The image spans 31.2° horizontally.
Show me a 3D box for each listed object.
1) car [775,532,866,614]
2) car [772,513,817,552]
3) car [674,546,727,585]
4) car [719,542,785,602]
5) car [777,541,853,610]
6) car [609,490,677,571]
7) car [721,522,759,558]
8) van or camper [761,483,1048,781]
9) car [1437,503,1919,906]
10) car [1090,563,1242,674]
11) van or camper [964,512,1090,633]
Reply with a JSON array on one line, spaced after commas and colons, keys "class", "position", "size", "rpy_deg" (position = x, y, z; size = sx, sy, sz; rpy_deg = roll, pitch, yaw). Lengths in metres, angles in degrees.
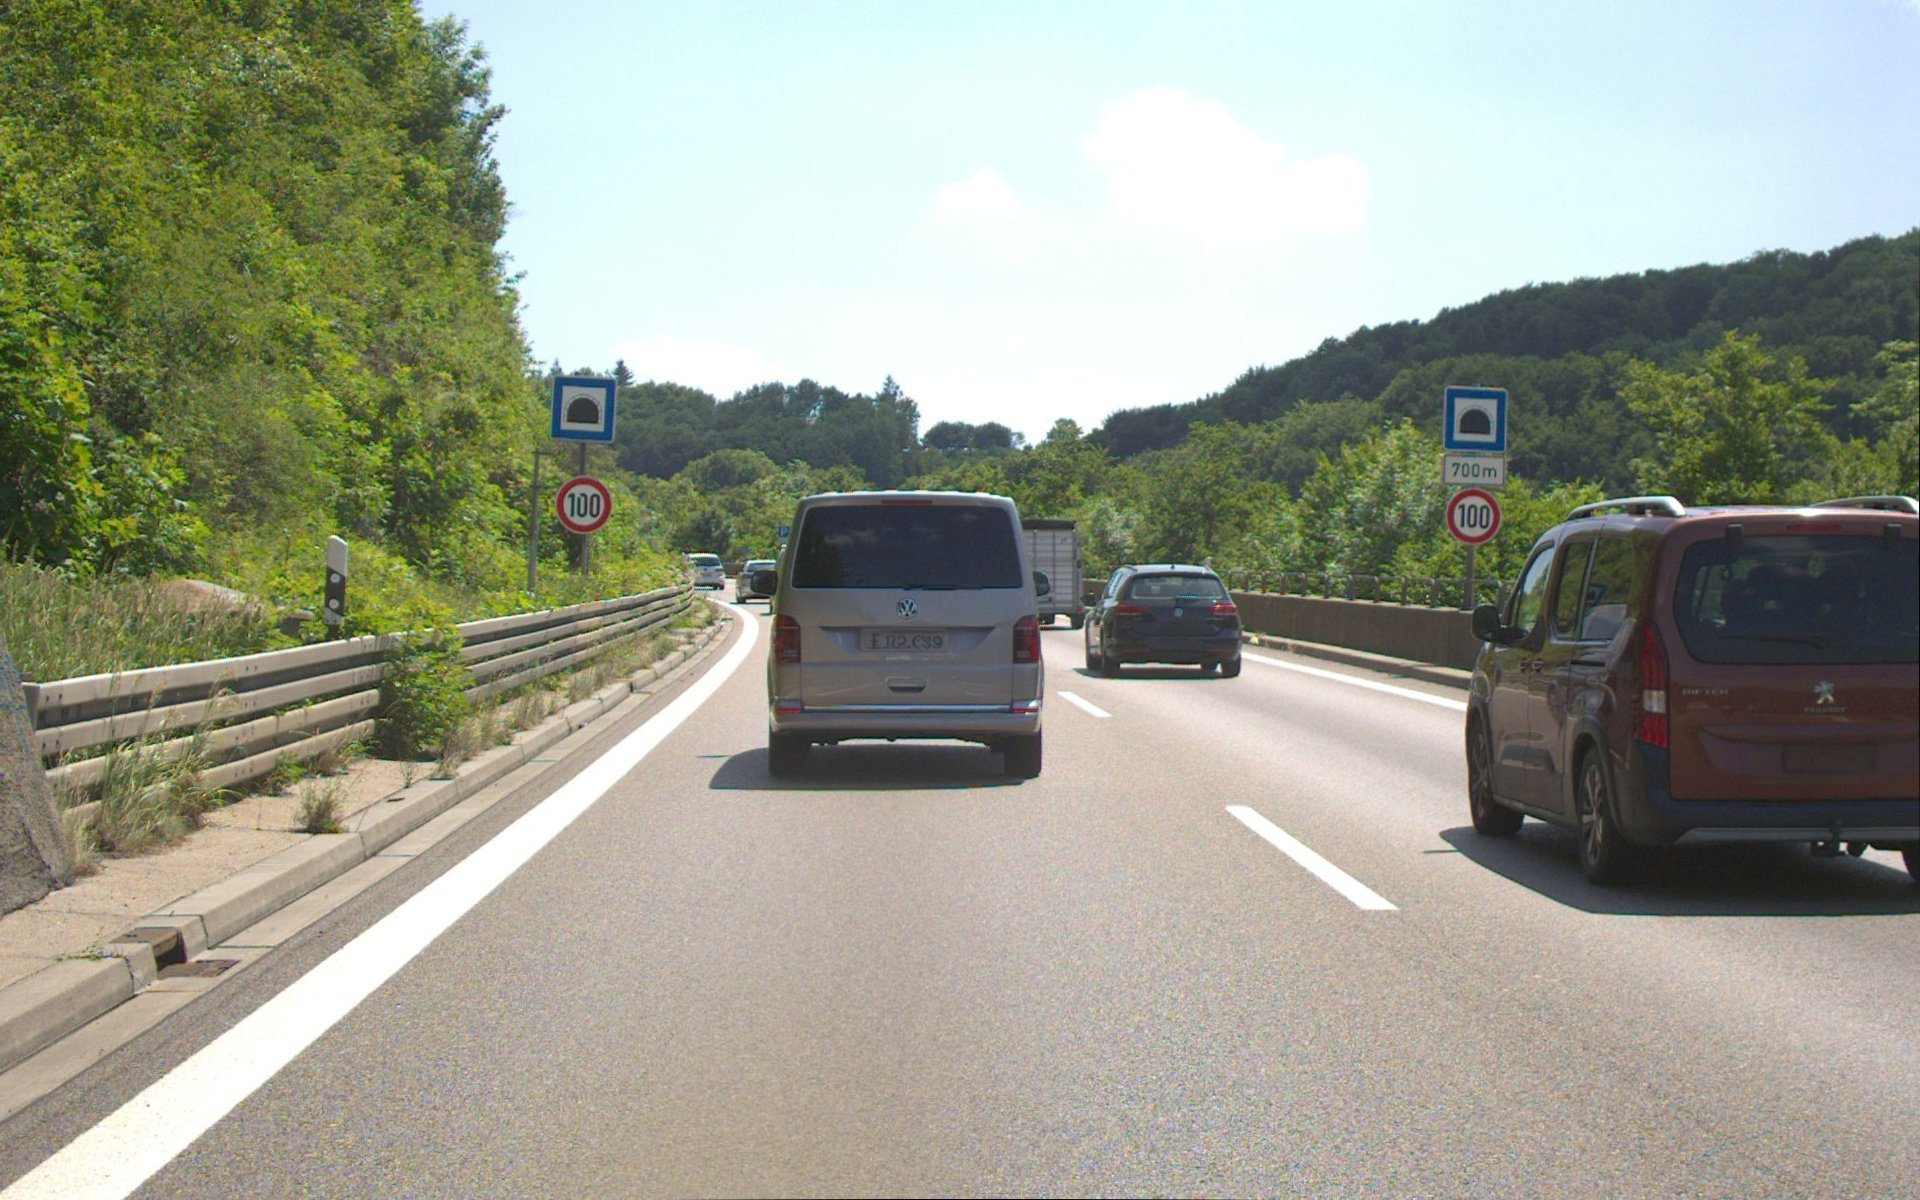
[{"class": "car", "position": [-3.196, -0.630, 78.201], "size": [1.993, 1.811, 4.001], "rpy_deg": [0, 1, -3]}, {"class": "car", "position": [-8.652, -3.518, 179.774], "size": [1.993, 2.007, 4.001], "rpy_deg": [0, 1, -8]}, {"class": "car", "position": [-11.226, -1.487, 148.470], "size": [2.142, 1.601, 5.079], "rpy_deg": [-1, 0, -6]}, {"class": "car", "position": [-6.890, -0.935, 113.507], "size": [1.993, 1.908, 4.001], "rpy_deg": [0, 1, -6]}, {"class": "car", "position": [-3.956, -0.672, 93.381], "size": [1.993, 1.811, 4.001], "rpy_deg": [0, 1, -3]}, {"class": "car", "position": [-19.476, -4.236, 210.882], "size": [4.042, 4.855, 10.111], "rpy_deg": [0, 1, -6]}, {"class": "car", "position": [-12.472, -3.398, 194.710], "size": [1.993, 2.007, 4.001], "rpy_deg": [0, 1, -5]}, {"class": "van or camper", "position": [-0.485, 0.185, 24.744], "size": [1.875, 1.943, 4.294], "rpy_deg": [0, 1, -3]}, {"class": "car", "position": [3.749, 0.451, 17.556], "size": [1.833, 1.778, 4.676], "rpy_deg": [0, 0, -2]}, {"class": "car", "position": [2.672, 0.212, 45.247], "size": [1.768, 1.371, 3.593], "rpy_deg": [1, 1, 0]}, {"class": "van or camper", "position": [1.431, -0.602, 75.540], "size": [2.263, 2.542, 4.737], "rpy_deg": [-1, 1, -5]}]
